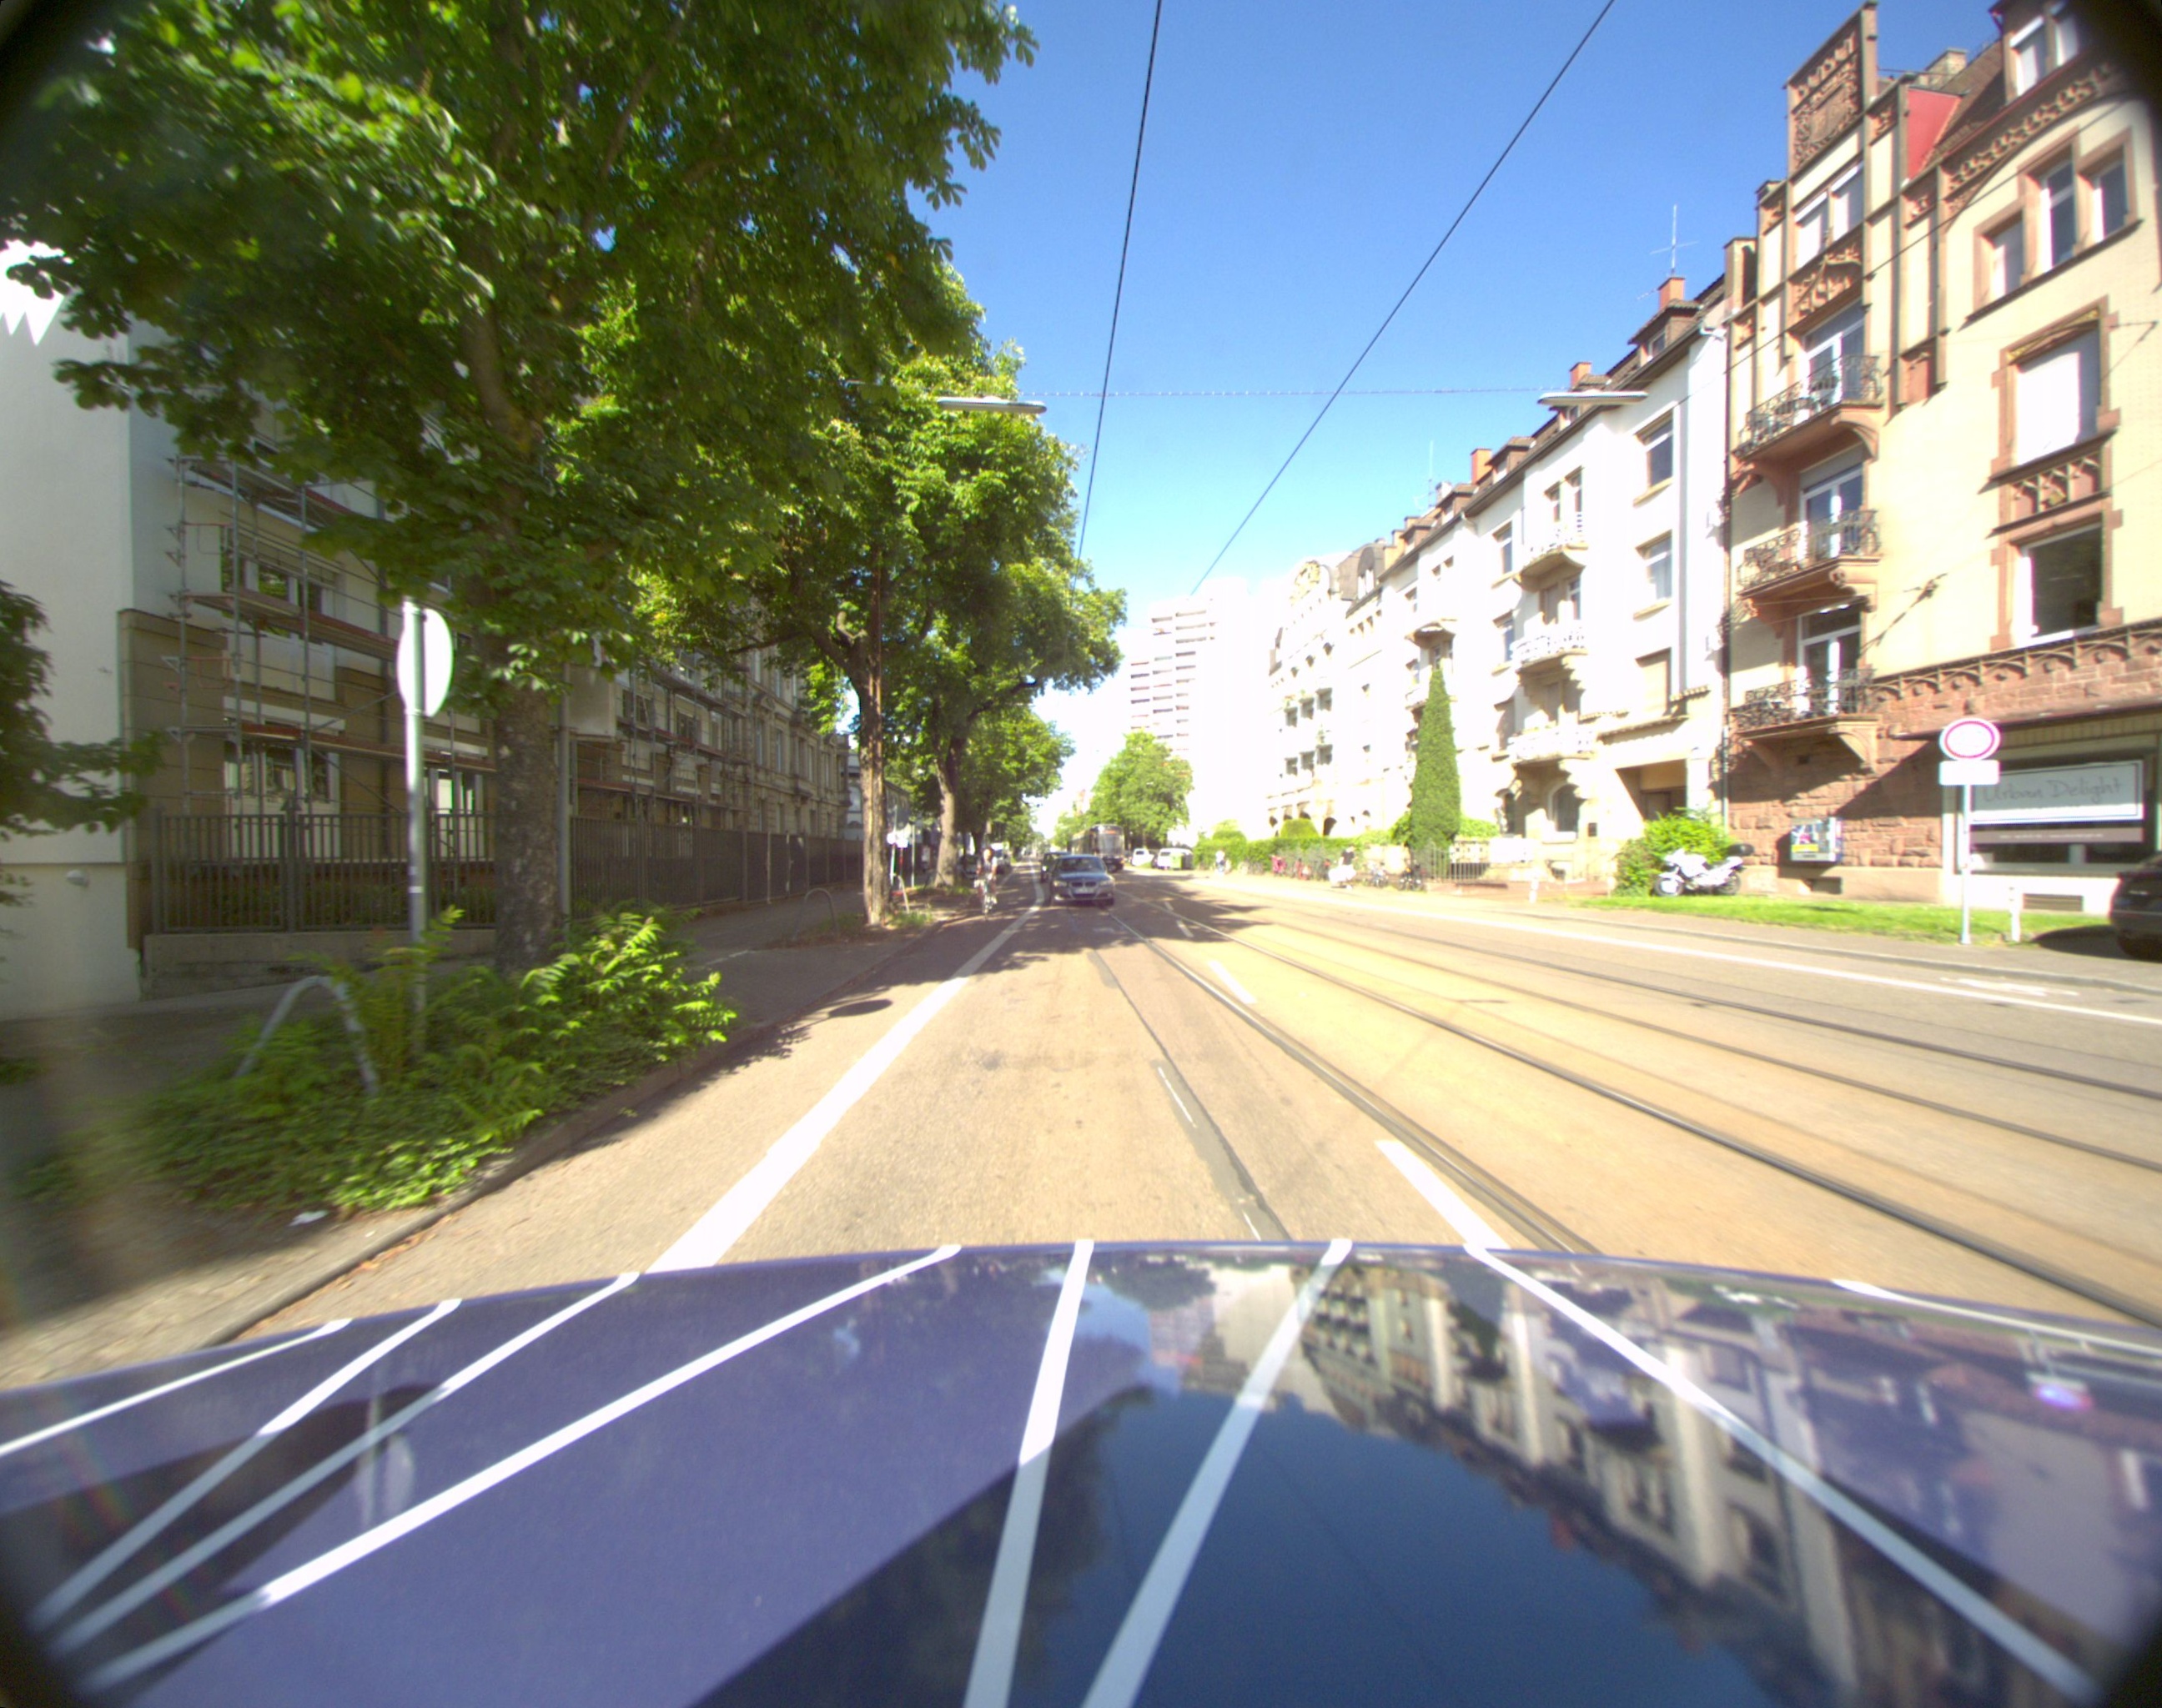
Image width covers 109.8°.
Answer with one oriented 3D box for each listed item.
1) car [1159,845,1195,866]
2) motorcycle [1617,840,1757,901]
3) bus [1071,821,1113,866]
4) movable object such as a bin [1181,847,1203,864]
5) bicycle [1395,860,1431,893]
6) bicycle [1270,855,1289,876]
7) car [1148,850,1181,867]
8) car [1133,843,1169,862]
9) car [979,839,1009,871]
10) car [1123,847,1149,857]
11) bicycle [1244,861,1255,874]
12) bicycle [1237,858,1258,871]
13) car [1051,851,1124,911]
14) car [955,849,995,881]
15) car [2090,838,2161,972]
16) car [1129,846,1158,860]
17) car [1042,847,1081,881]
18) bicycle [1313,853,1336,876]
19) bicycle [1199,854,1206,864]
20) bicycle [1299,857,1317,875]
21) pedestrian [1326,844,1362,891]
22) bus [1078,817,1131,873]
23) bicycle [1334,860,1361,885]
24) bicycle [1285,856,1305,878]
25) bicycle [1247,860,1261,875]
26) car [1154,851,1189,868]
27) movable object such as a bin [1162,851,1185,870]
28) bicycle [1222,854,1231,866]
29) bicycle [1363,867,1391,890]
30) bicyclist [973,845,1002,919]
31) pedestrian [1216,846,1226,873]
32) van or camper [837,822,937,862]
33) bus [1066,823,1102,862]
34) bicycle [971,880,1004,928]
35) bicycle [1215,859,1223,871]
[{"bbox_3d":[8.311,0.165,65.645,1.456,1.763,3.194,0,-1,43],"label":"car"},{"bbox_3d":[15.610,0.406,19.602,3.093,1.448,0.823,-2,2,-4],"label":"motorcycle"},{"bbox_3d":[0.874,-1.026,70.635,2.868,3.756,11.176,-2,2,-4],"label":"bus"},{"bbox_3d":[9.237,0.089,63.251,1.501,1.309,2.095,-2,2,-2],"label":"movable object such as a bin"},{"bbox_3d":[11.227,0.738,25.715,0.405,1.033,1.748,-2,2,-2],"label":"bicycle"},{"bbox_3d":[10.202,0.594,39.077,0.405,1.018,1.815,-2,2,-2],"label":"bicycle"},{"bbox_3d":[7.926,0.417,72.003,2.758,1.427,1.457,-2,2,-19],"label":"car"},{"bbox_3d":[7.291,-0.169,79.041,1.917,1.860,3.450,0,2,43],"label":"car"},{"bbox_3d":[-6.696,0.031,59.119,2.133,2.329,5.801,1,1,-5],"label":"car"},{"bbox_3d":[6.642,-0.204,91.643,2.758,1.083,1.225,-2,2,-19],"label":"car"},{"bbox_3d":[9.963,0.796,45.007,0.339,0.757,1.263,-2,2,-2],"label":"bicycle"},{"bbox_3d":[10.581,0.653,48.206,1.262,0.789,0.297,-2,2,-2],"label":"bicycle"},{"bbox_3d":[0.119,0.697,21.834,1.870,1.426,3.998,-2,2,-2],"label":"car"},{"bbox_3d":[-5.616,0.543,40.648,1.878,1.534,4.362,1,1,-5],"label":"car"},{"bbox_3d":[14.580,0.514,8.814,4.000,1.494,1.770,-4,2,-8],"label":"car"},{"bbox_3d":[6.746,-0.163,82.485,2.758,1.427,1.457,-2,2,-19],"label":"car"},{"bbox_3d":[-1.014,0.467,38.622,1.828,1.559,3.998,-2,2,-2],"label":"car"},{"bbox_3d":[10.647,0.464,33.236,0.405,0.937,1.648,-2,2,-2],"label":"bicycle"},{"bbox_3d":[9.047,0.367,56.487,0.297,0.757,1.263,-2,2,-2],"label":"bicycle"},{"bbox_3d":[10.455,0.551,35.022,0.318,0.757,1.542,-2,2,-2],"label":"bicycle"},{"bbox_3d":[9.727,0.483,28.096,0.869,1.619,0.870,-6,2,-2],"label":"pedestrian"},{"bbox_3d":[1.619,-0.770,59.007,2.858,3.756,12.189,-2,1,-4],"label":"bus"},{"bbox_3d":[10.809,0.725,30.866,0.405,0.937,1.748,-2,2,-2],"label":"bicycle"},{"bbox_3d":[10.352,0.616,36.782,0.405,1.018,1.815,-2,2,-2],"label":"bicycle"},{"bbox_3d":[9.913,0.770,43.499,0.405,0.757,1.581,-2,2,-2],"label":"bicycle"},{"bbox_3d":[8.162,0.470,68.670,2.758,1.427,1.457,-2,2,-19],"label":"car"},{"bbox_3d":[7.580,0.495,62.224,1.513,1.424,2.095,-2,2,-2],"label":"movable object such as a bin"},{"bbox_3d":[9.564,0.406,49.956,0.318,0.757,1.263,-2,2,-2],"label":"bicycle"},{"bbox_3d":[10.861,0.883,27.943,0.318,0.757,1.651,-2,2,-2],"label":"bicycle"},{"bbox_3d":[-2.176,0.639,17.748,0.532,1.660,0.878,-2,2,-1],"label":"bicyclist"},{"bbox_3d":[8.584,0.331,46.590,0.476,1.619,0.659,-2,2,-2],"label":"pedestrian"},{"bbox_3d":[-13.613,-0.832,53.207,6.722,2.612,2.126,-1,2,22],"label":"van or camper"},{"bbox_3d":[0.202,-1.275,81.088,2.868,3.756,11.490,-2,1,-4],"label":"bus"},{"bbox_3d":[-2.158,1.130,17.730,0.535,0.917,2.056,-2,2,-1],"label":"bicycle"},{"bbox_3d":[9.398,0.740,51.797,0.297,0.757,1.263,-2,2,-2],"label":"bicycle"}]
